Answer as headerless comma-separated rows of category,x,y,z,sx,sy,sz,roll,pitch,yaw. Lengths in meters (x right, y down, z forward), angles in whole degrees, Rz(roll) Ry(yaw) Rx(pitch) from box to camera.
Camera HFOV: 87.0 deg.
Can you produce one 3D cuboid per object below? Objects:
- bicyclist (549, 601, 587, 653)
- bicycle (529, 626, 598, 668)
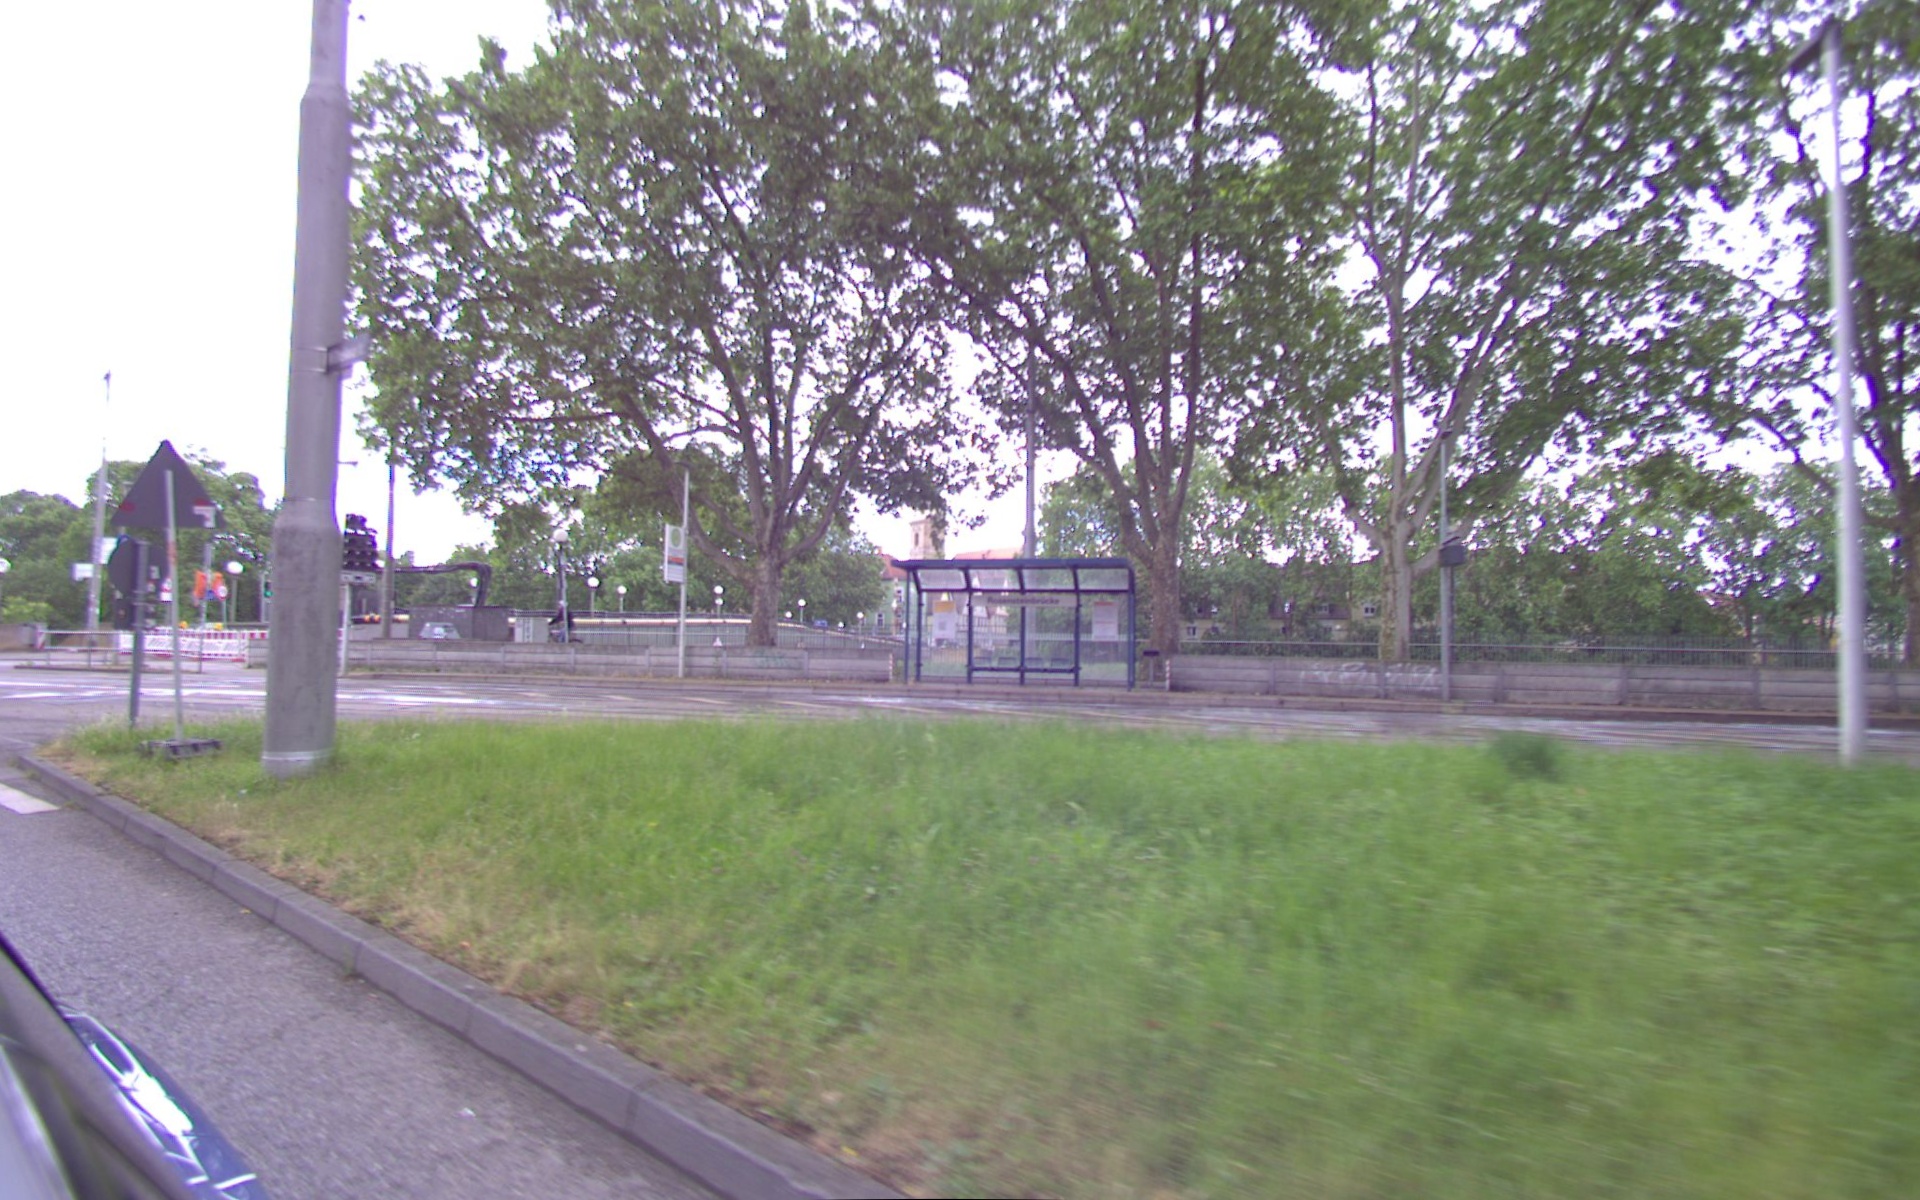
bicyclist,-12.973,0.879,33.464,1.000,1.663,0.638,1,1,19
bicycle,-13.137,1.533,33.542,2.247,1.287,0.687,1,1,20
